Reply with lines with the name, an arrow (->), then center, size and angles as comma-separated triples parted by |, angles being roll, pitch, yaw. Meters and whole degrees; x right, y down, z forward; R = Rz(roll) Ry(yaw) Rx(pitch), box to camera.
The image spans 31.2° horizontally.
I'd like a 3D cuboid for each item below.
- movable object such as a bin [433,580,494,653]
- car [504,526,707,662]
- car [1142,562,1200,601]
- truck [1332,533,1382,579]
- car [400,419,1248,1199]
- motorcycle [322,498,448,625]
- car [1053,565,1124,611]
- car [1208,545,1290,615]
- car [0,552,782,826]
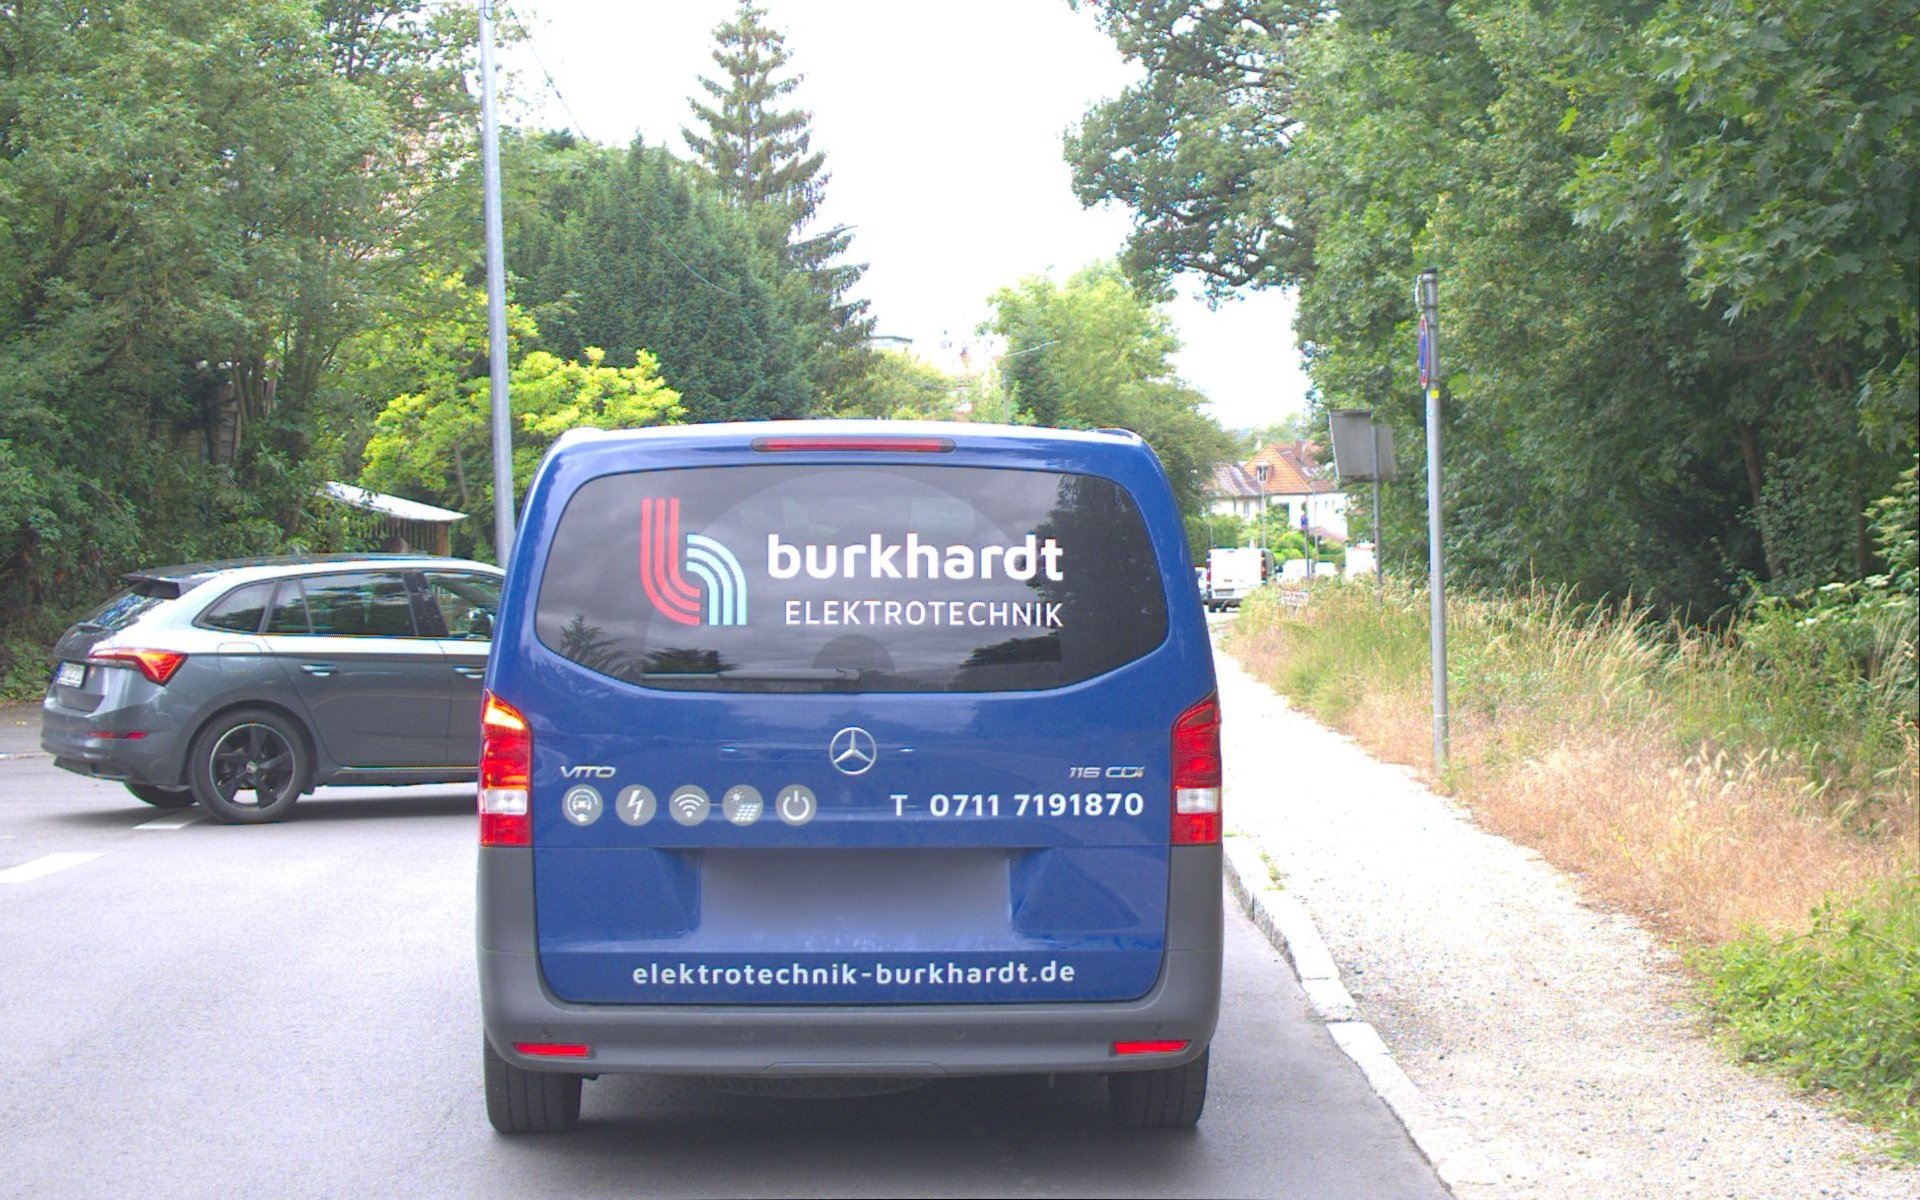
movable object such as a bin -> -6.301, 0.208, 43.639 | 0.591, 0.906, 0.700 | 0, 1, 9
car -> -3.982, -0.093, 39.161 | 1.706, 1.462, 4.075 | 0, 1, 3
car -> 7.729, -0.685, 125.749 | 1.749, 1.400, 3.999 | 0, 1, 9
truck -> 24.971, -2.815, 215.868 | 2.764, 2.784, 9.265 | 0, 1, 9
car -> -0.436, 0.468, 10.131 | 1.936, 1.873, 4.531 | 0, 1, -3
motorcycle -> -6.926, -0.471, 41.569 | 0.810, 1.480, 2.895 | 0, 1, 5
car -> 4.017, -0.381, 106.925 | 1.749, 1.400, 3.999 | 0, 1, 9
car -> 8.985, -0.641, 106.617 | 2.206, 2.056, 6.133 | 0, 1, 8
car -> -3.280, 0.453, 19.735 | 4.166, 1.442, 1.741 | 0, 1, -24
